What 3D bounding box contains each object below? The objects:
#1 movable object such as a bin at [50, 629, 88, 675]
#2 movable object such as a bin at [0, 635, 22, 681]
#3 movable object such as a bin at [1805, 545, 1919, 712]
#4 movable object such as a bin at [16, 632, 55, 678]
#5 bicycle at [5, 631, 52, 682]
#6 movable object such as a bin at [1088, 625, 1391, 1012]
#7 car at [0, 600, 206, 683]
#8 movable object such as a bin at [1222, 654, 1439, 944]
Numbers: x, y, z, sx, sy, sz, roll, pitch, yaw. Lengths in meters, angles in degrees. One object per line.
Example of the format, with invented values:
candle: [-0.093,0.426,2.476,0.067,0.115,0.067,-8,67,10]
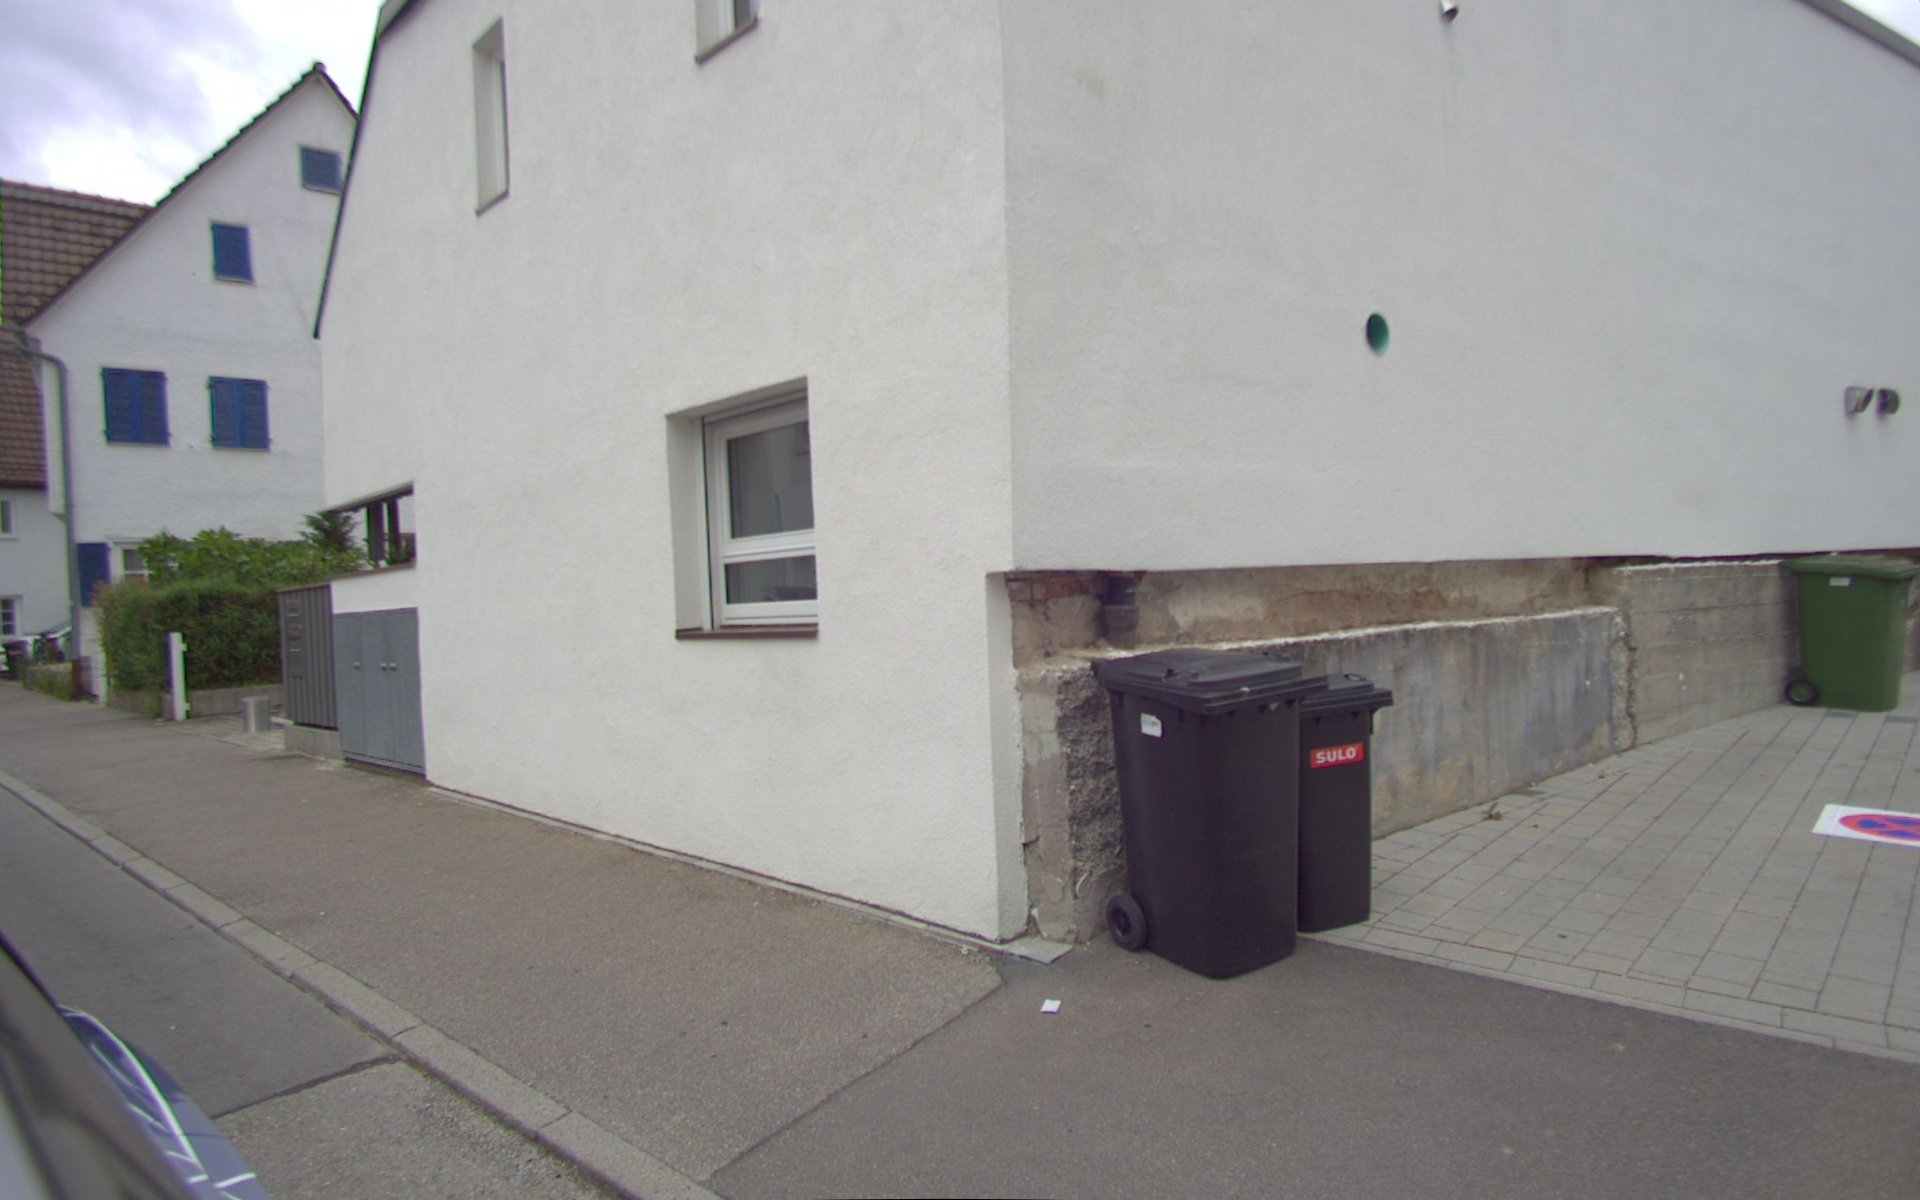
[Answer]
movable object such as a bin: [-21.188,1.228,24.065,0.549,1.007,0.623,-10,4,-40]
movable object such as a bin: [-21.925,1.336,23.161,0.546,1.007,0.587,-9,3,-40]
movable object such as a bin: [6.352,0.173,6.931,0.547,1.083,0.727,-3,2,-32]
movable object such as a bin: [-21.663,1.288,23.716,0.562,1.007,0.600,-8,2,-41]
bicycle: [-20.781,1.239,22.602,0.437,1.046,2.097,-7,3,-36]
movable object such as a bin: [0.935,0.664,3.476,0.606,1.083,0.755,-4,3,-28]
car: [-23.035,1.014,26.757,1.973,1.510,4.502,1,7,34]
movable object such as a bin: [1.380,0.700,3.802,0.443,0.911,0.573,-6,3,-28]
